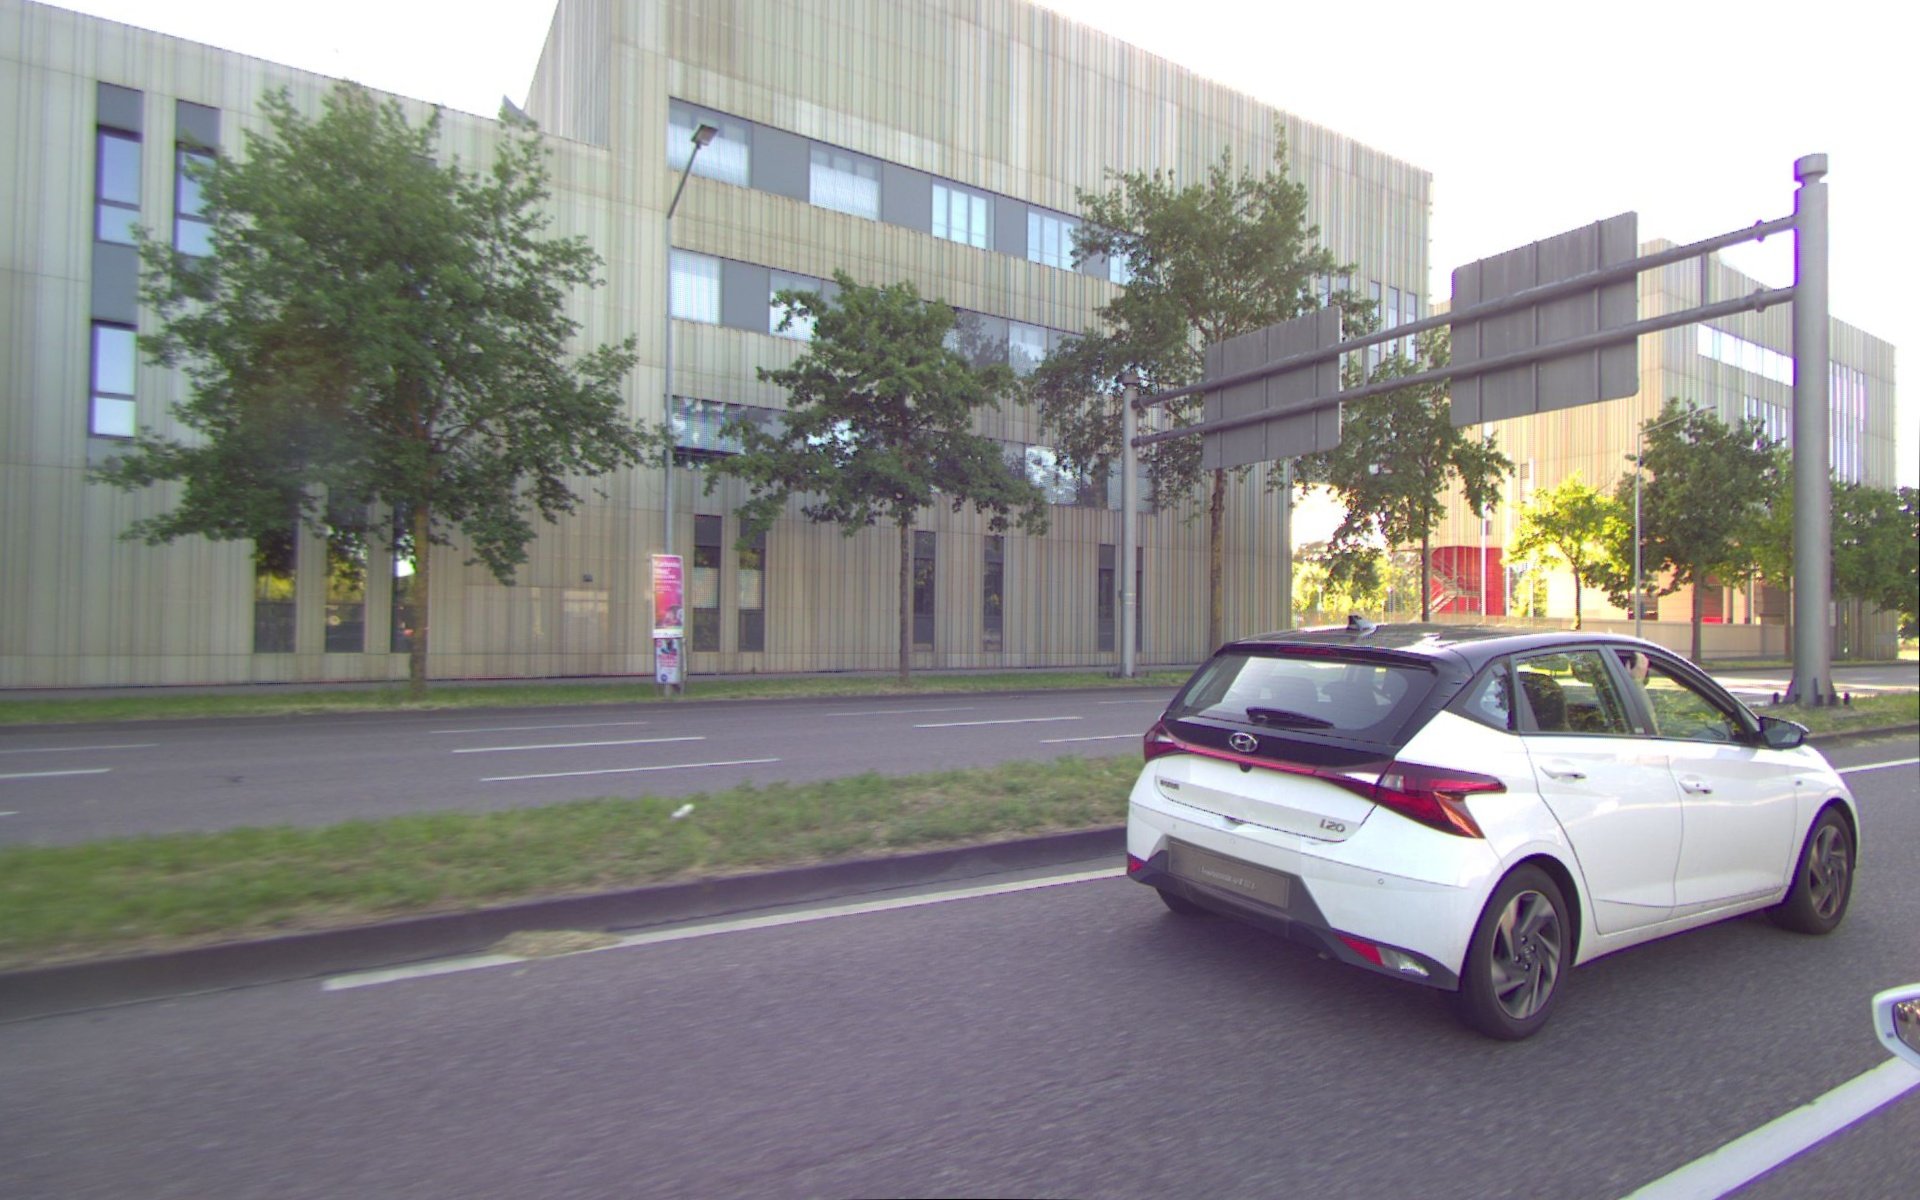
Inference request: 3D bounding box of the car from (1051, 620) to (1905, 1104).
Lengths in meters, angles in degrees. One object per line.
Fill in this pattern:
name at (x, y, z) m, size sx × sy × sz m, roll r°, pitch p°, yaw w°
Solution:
car at (2.589, 0.835, 4.805) m, size 4.027 × 1.427 × 1.769 m, roll 1°, pitch -1°, yaw -30°
